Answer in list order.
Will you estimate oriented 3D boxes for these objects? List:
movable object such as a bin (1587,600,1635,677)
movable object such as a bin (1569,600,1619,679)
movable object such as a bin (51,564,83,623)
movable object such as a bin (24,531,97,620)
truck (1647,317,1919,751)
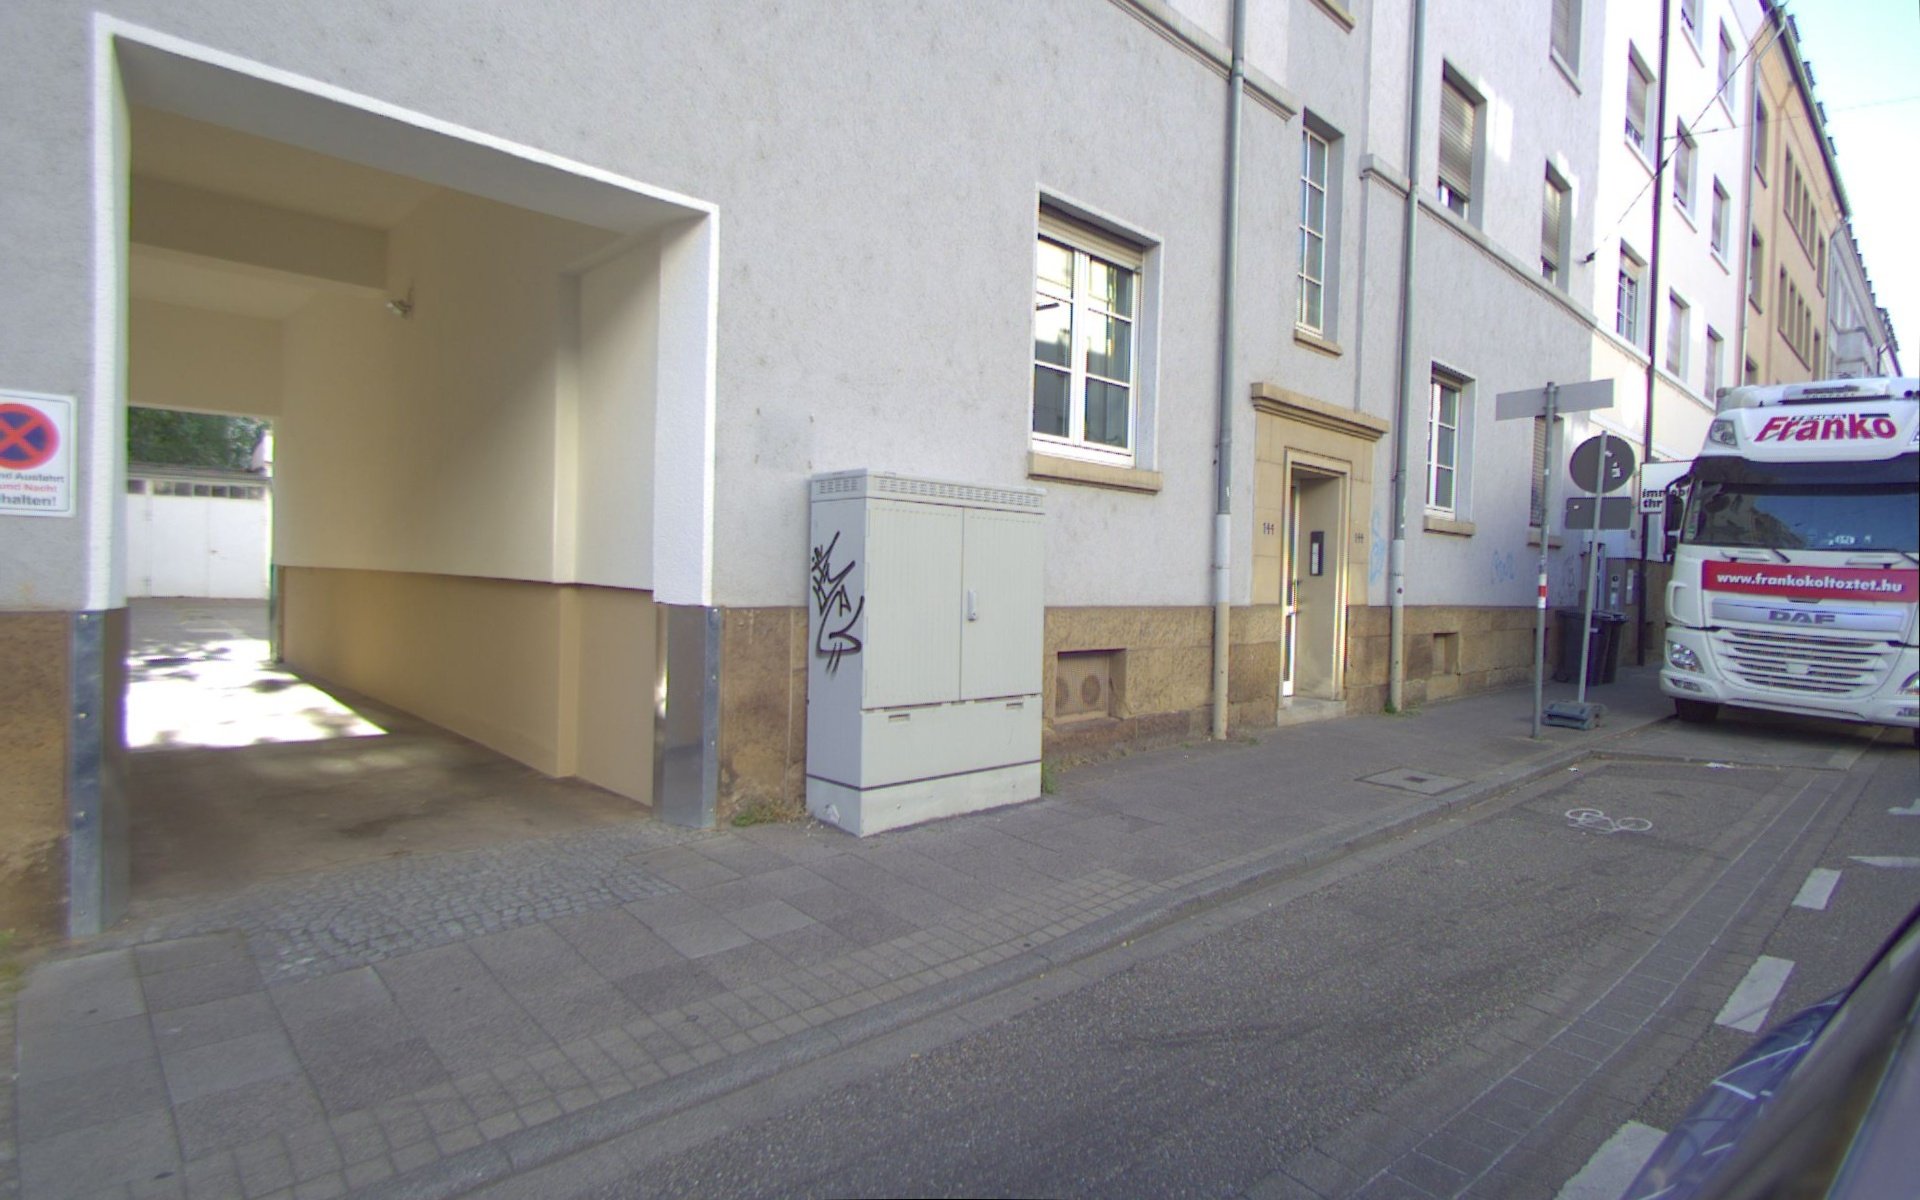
[{"bbox_3d":[9.588,0.558,14.910,0.511,1.106,0.488,0,0,45],"label":"movable object such as a bin"},{"bbox_3d":[9.140,0.558,14.590,0.511,1.106,0.488,0,0,45],"label":"movable object such as a bin"},{"bbox_3d":[-14.306,-0.110,16.209,0.366,0.919,0.420,0,3,-44],"label":"movable object such as a bin"},{"bbox_3d":[-14.850,-0.414,16.711,0.874,1.409,0.758,0,4,-44],"label":"movable object such as a bin"},{"bbox_3d":[12.565,-0.606,13.852,11.511,4.012,2.894,0,0,-44],"label":"truck"}]
